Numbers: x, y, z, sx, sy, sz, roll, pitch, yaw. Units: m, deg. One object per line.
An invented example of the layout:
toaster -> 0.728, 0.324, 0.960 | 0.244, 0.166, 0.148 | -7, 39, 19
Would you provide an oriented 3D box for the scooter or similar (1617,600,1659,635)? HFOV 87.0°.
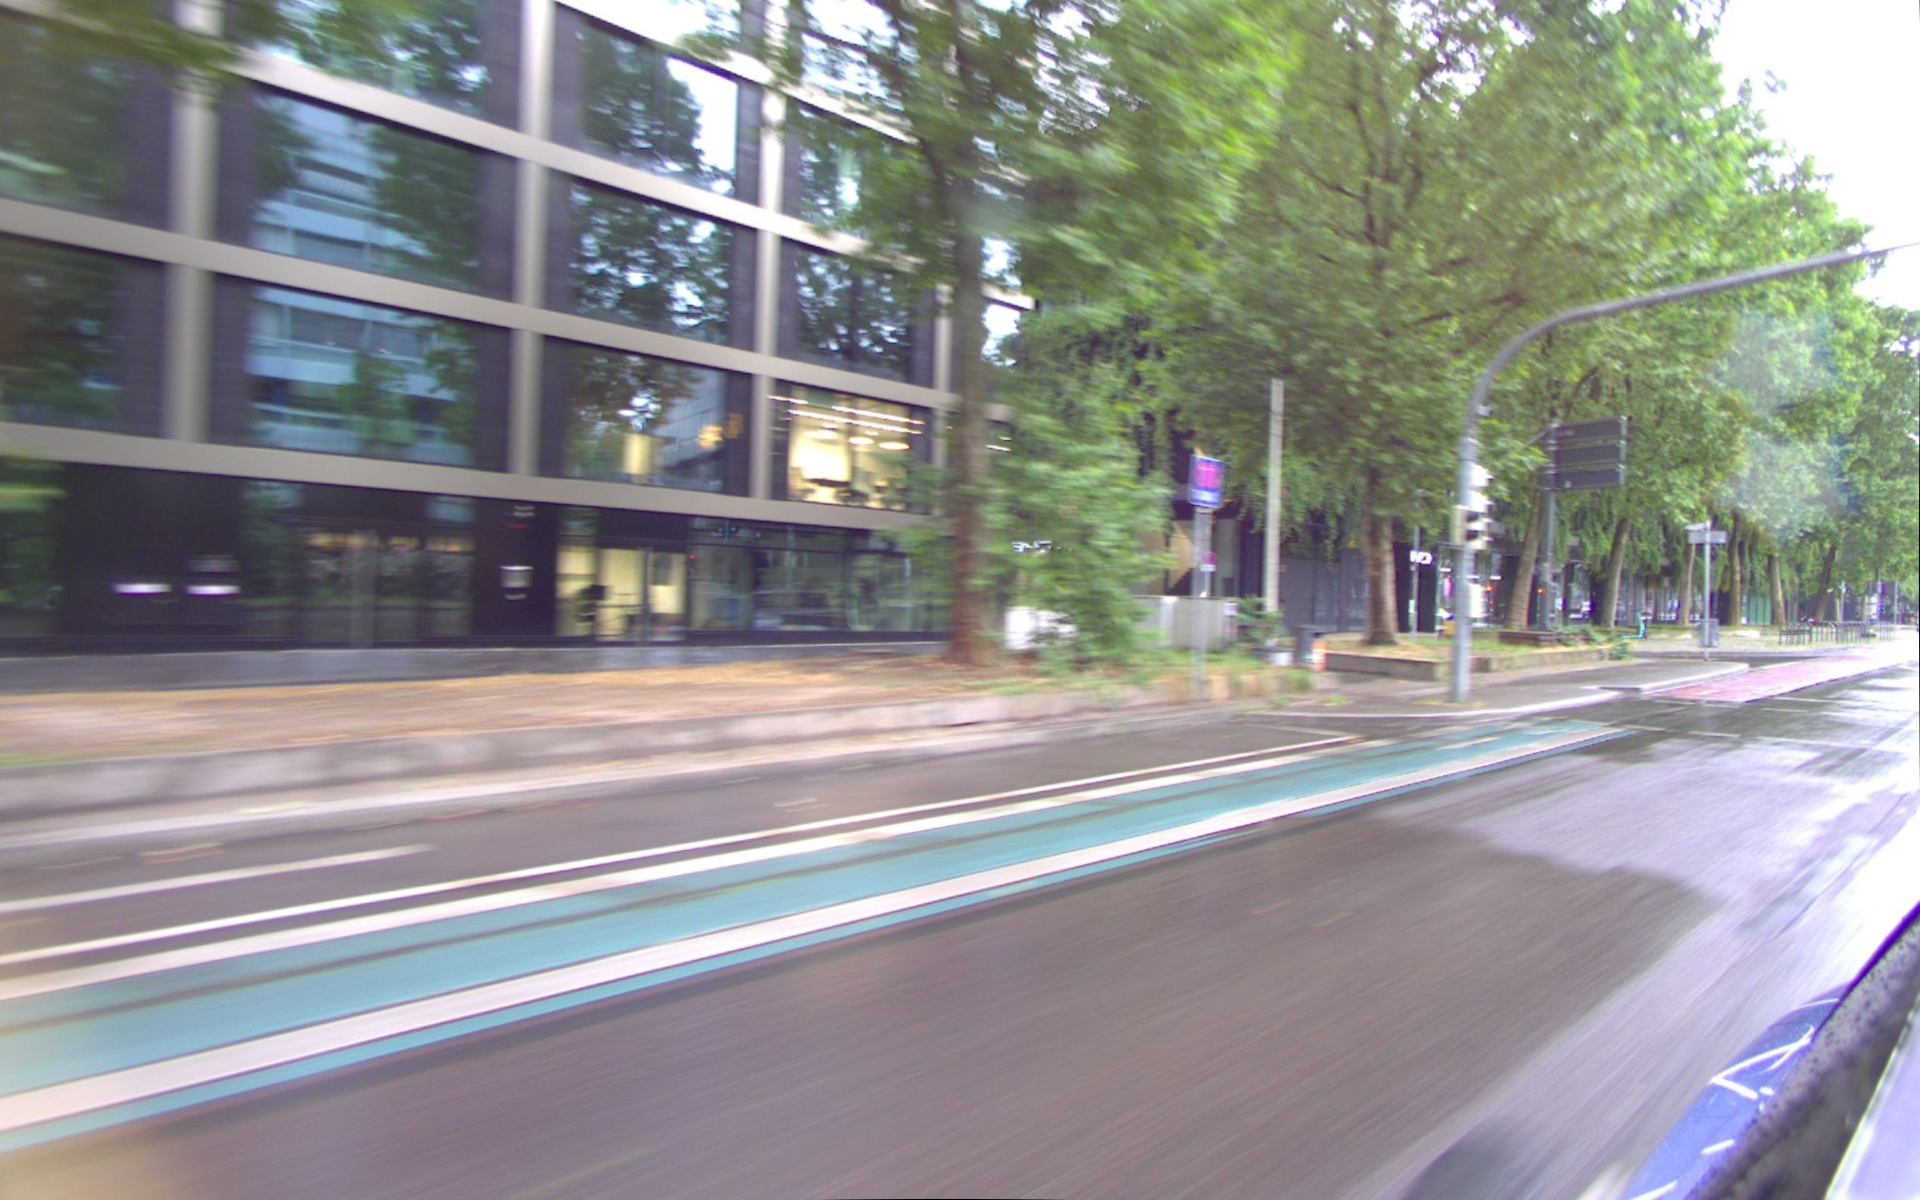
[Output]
scooter or similar -> 25.206, 0.643, 37.621 | 1.165, 1.298, 0.535 | -1, -1, 9
